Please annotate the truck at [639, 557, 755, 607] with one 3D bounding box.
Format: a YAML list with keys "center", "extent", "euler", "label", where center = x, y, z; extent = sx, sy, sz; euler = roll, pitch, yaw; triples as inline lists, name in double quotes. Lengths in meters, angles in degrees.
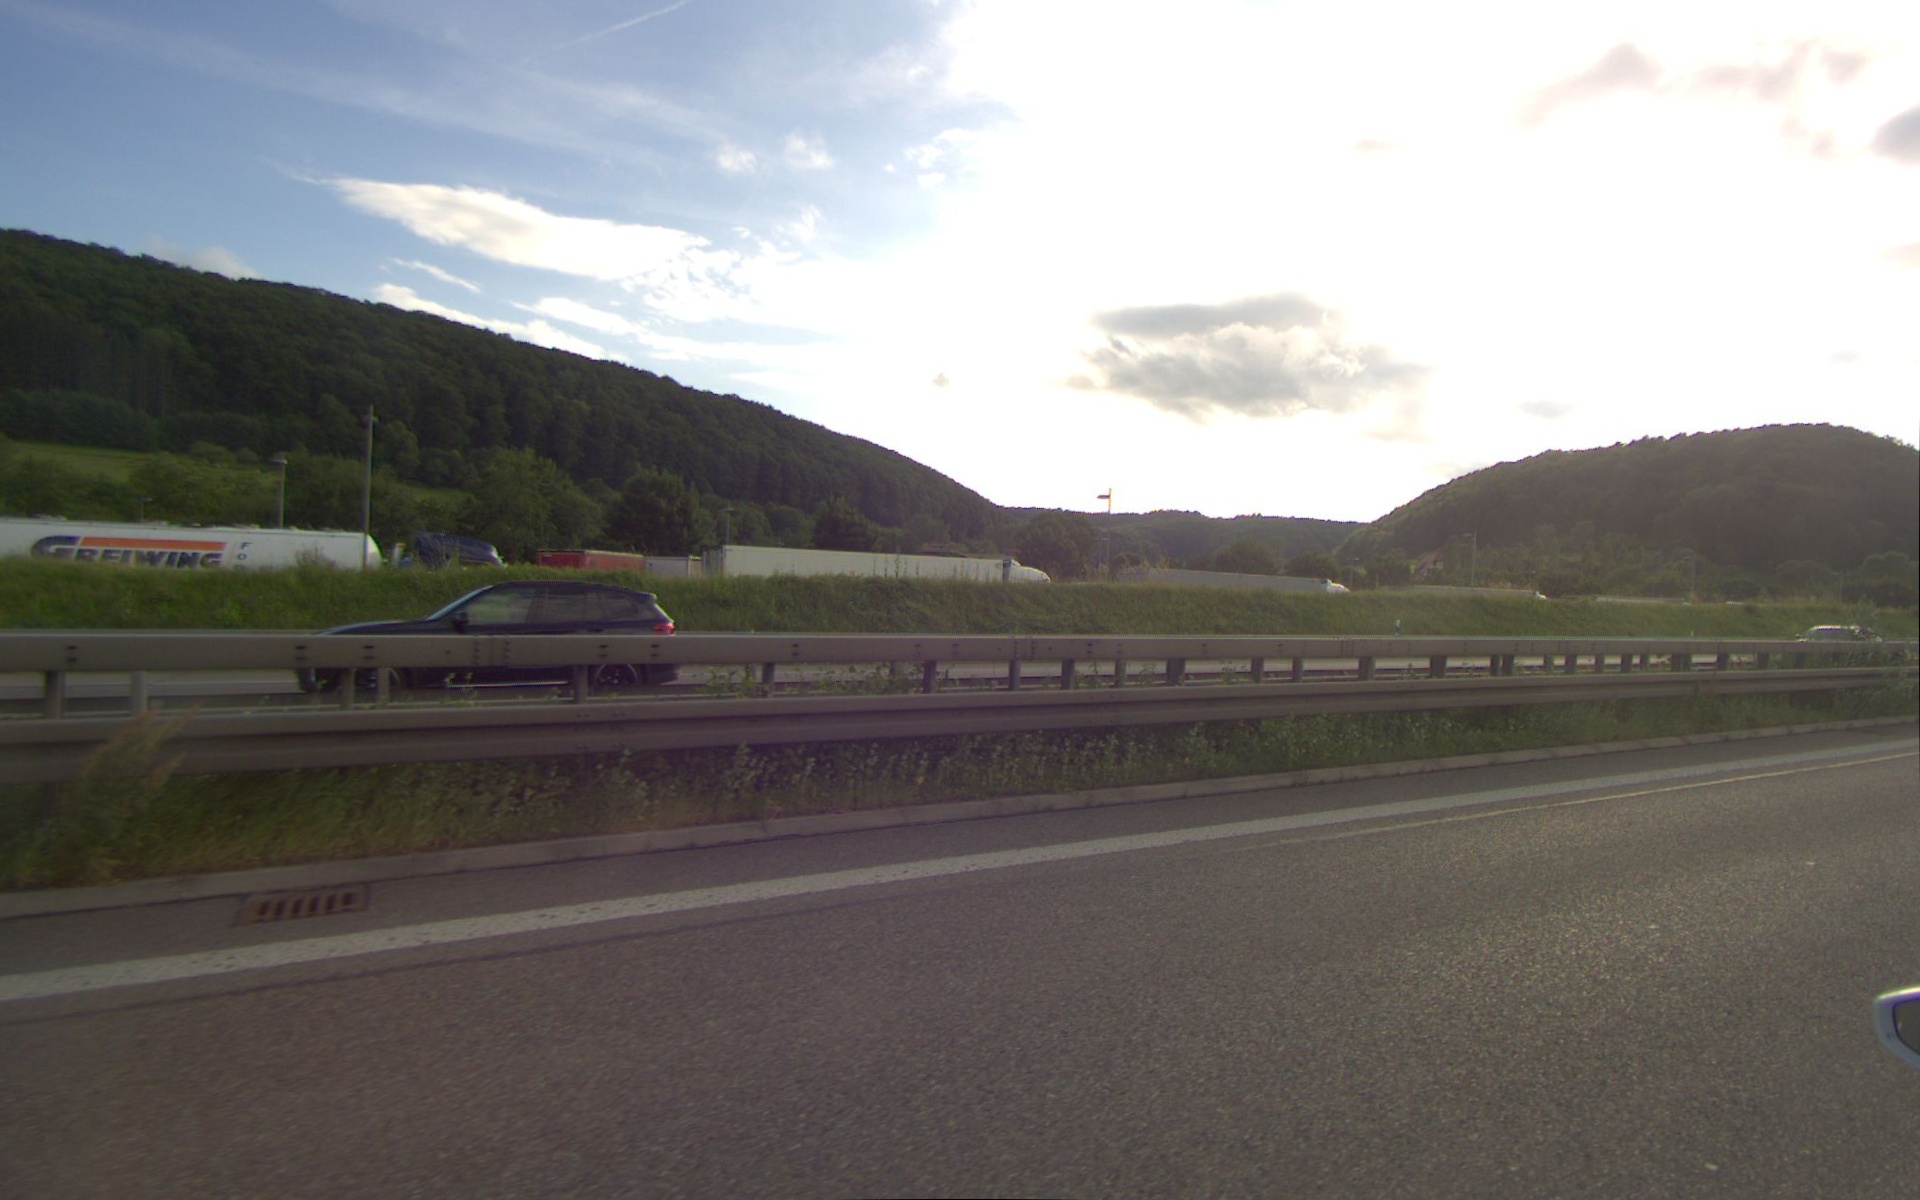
- center: [-13.936, -0.891, 53.948]
  extent: [2.842, 2.255, 7.313]
  euler: [2, -1, 13]
  label: "truck"

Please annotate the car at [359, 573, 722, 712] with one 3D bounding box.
- center: [-5.636, 0.590, 13.716]
  extent: [4.290, 1.635, 1.798]
  euler: [3, -1, -30]
  label: "car"

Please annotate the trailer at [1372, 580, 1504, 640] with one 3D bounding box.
- center: [31.964, 0.761, 66.938]
  extent: [10.256, 3.745, 2.862]
  euler: [2, -1, -32]
  label: "trailer"

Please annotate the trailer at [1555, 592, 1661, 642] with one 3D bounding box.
- center: [50.645, 1.392, 78.413]
  extent: [10.256, 3.745, 2.862]
  euler: [2, -1, -32]
  label: "trailer"

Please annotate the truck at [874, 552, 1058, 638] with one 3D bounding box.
- center: [0.380, -0.134, 46.894]
  extent: [8.399, 3.740, 2.866]
  euler: [1, -1, -32]
  label: "truck"

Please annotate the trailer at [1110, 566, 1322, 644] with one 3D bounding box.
- center: [14.421, 0.453, 55.573]
  extent: [13.526, 3.744, 2.862]
  euler: [2, -2, -32]
  label: "trailer"

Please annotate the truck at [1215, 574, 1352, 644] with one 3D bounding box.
- center: [18.883, 0.638, 58.363]
  extent: [8.399, 3.739, 2.866]
  euler: [2, -2, -32]
  label: "truck"

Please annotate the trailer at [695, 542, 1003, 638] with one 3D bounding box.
- center: [-4.461, -0.245, 43.798]
  extent: [13.529, 3.745, 2.860]
  euler: [1, -1, -33]
  label: "trailer"

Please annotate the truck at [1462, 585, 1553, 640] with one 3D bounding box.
- center: [38.869, 0.940, 71.269]
  extent: [6.519, 3.739, 2.866]
  euler: [1, -1, -32]
  label: "truck"

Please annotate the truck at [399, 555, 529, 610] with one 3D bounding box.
- center: [-39.801, -1.302, 81.309]
  extent: [2.535, 3.907, 11.387]
  euler: [2, -1, 14]
  label: "truck"

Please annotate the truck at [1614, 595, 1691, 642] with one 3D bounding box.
- center: [56.755, 1.559, 82.265]
  extent: [6.519, 3.739, 2.866]
  euler: [1, -1, -32]
  label: "truck"

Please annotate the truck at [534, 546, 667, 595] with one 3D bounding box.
- center: [-18.175, -1.413, 51.350]
  extent: [2.842, 2.040, 7.313]
  euler: [2, -1, 13]
  label: "truck"

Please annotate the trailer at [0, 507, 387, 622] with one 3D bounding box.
- center: [-24.776, -1.027, 31.092]
  extent: [12.125, 2.891, 2.565]
  euler: [3, -1, -31]
  label: "trailer"

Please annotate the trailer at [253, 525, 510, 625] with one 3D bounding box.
- center: [-19.466, -0.745, 34.218]
  extent: [7.223, 2.891, 2.598]
  euler: [3, -1, -31]
  label: "trailer"
